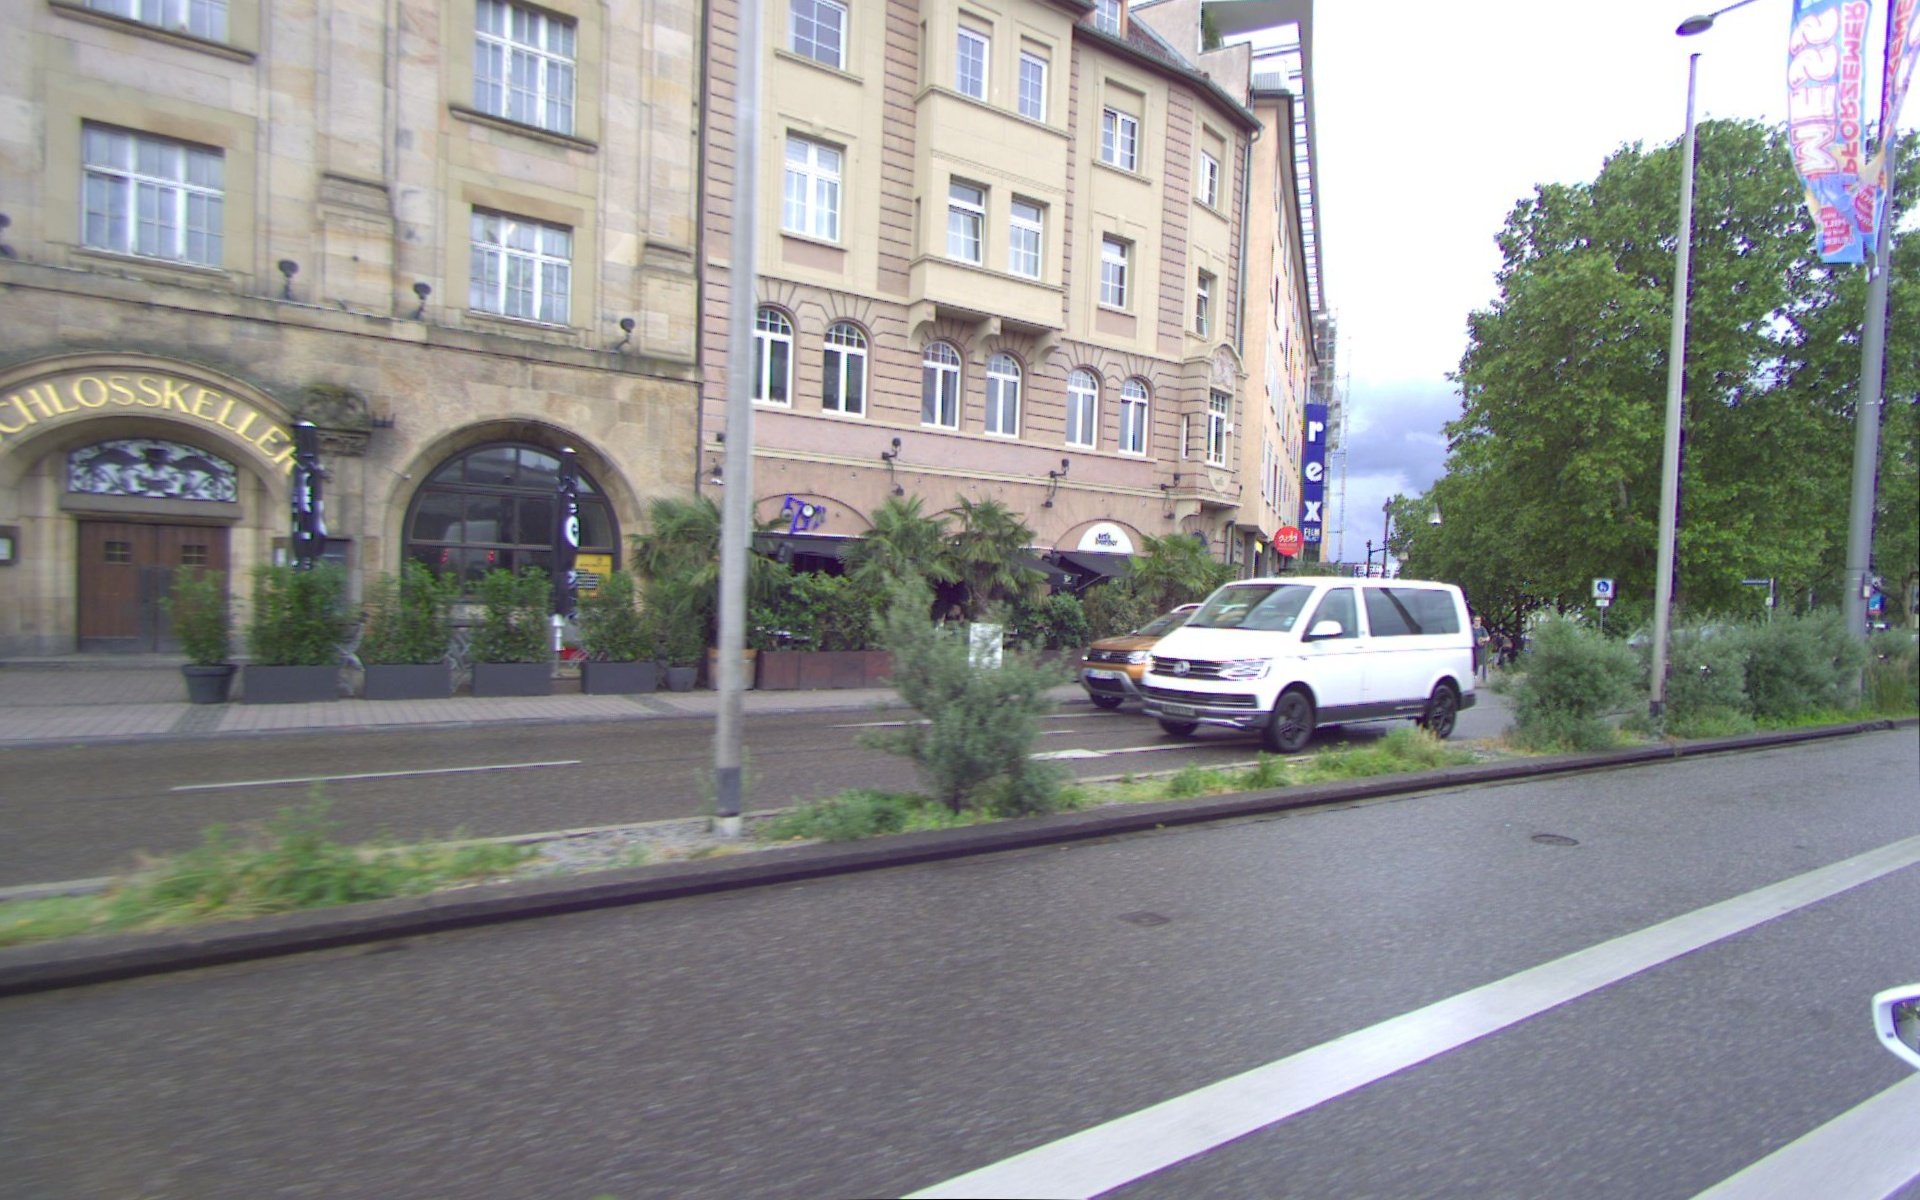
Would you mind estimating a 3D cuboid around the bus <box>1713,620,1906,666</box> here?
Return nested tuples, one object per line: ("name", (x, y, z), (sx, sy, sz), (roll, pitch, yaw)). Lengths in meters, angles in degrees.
("bus", (61.994, 3.221, 73.958), (2.836, 3.058, 11.960), (2, -3, -8))

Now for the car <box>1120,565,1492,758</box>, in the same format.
("car", (4.429, 0.686, 12.560), (4.806, 2.000, 1.909), (2, 0, -35))

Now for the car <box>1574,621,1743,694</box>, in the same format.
("car", (17.110, 1.355, 24.537), (4.689, 1.600, 1.780), (2, -1, -33))

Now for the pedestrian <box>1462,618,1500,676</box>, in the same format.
("pedestrian", (14.066, 1.254, 27.117), (0.722, 1.550, 0.683), (1, -1, -42))

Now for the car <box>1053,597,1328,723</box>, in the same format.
("car", (3.641, 0.860, 15.631), (4.062, 1.703, 1.980), (2, 0, -36))
